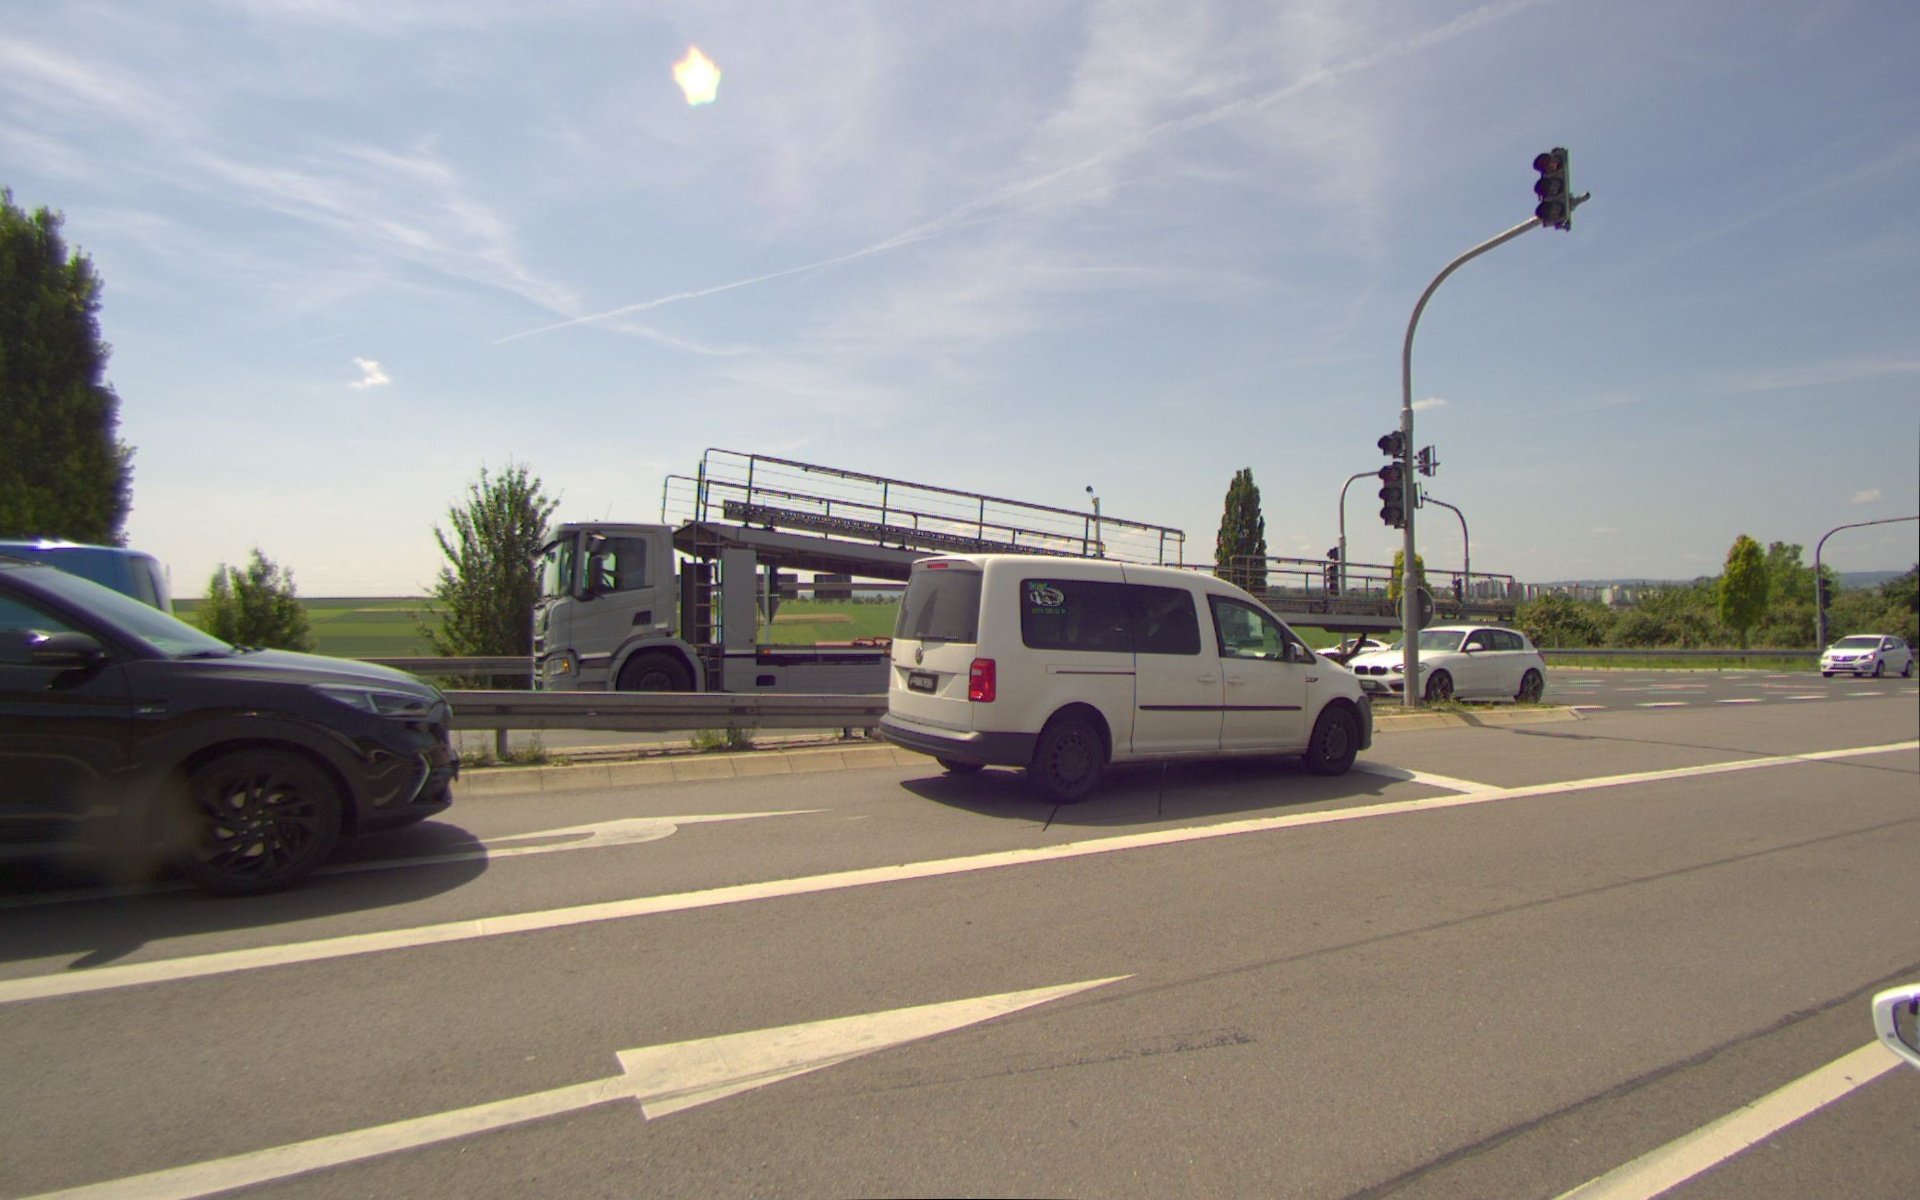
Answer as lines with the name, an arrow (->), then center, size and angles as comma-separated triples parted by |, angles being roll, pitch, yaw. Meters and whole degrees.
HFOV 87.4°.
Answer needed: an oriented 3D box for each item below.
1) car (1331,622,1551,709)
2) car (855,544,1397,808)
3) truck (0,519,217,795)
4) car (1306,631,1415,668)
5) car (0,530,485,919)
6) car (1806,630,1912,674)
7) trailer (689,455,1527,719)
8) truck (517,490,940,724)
car -> 8.875, 1.167, 18.484 | 3.953, 1.452, 1.764 | 2, -2, -30
car -> 1.583, 0.562, 8.888 | 4.696, 1.822, 1.759 | 1, 0, -31
truck -> -9.147, 0.430, 8.251 | 4.565, 2.185, 1.959 | 2, -2, -28
car -> 18.670, 2.279, 46.903 | 4.423, 1.479, 1.626 | 1, 0, 39
car -> -4.811, 0.524, 5.004 | 4.297, 1.679, 1.847 | 1, 0, -30
car -> 31.903, 1.844, 35.636 | 3.754, 1.516, 1.638 | 2, -3, -28
trailer -> 4.612, 0.112, 20.567 | 19.564, 3.813, 2.627 | 2, -1, -30
truck -> -3.584, 0.188, 15.800 | 5.918, 3.053, 2.787 | 2, -1, -30
